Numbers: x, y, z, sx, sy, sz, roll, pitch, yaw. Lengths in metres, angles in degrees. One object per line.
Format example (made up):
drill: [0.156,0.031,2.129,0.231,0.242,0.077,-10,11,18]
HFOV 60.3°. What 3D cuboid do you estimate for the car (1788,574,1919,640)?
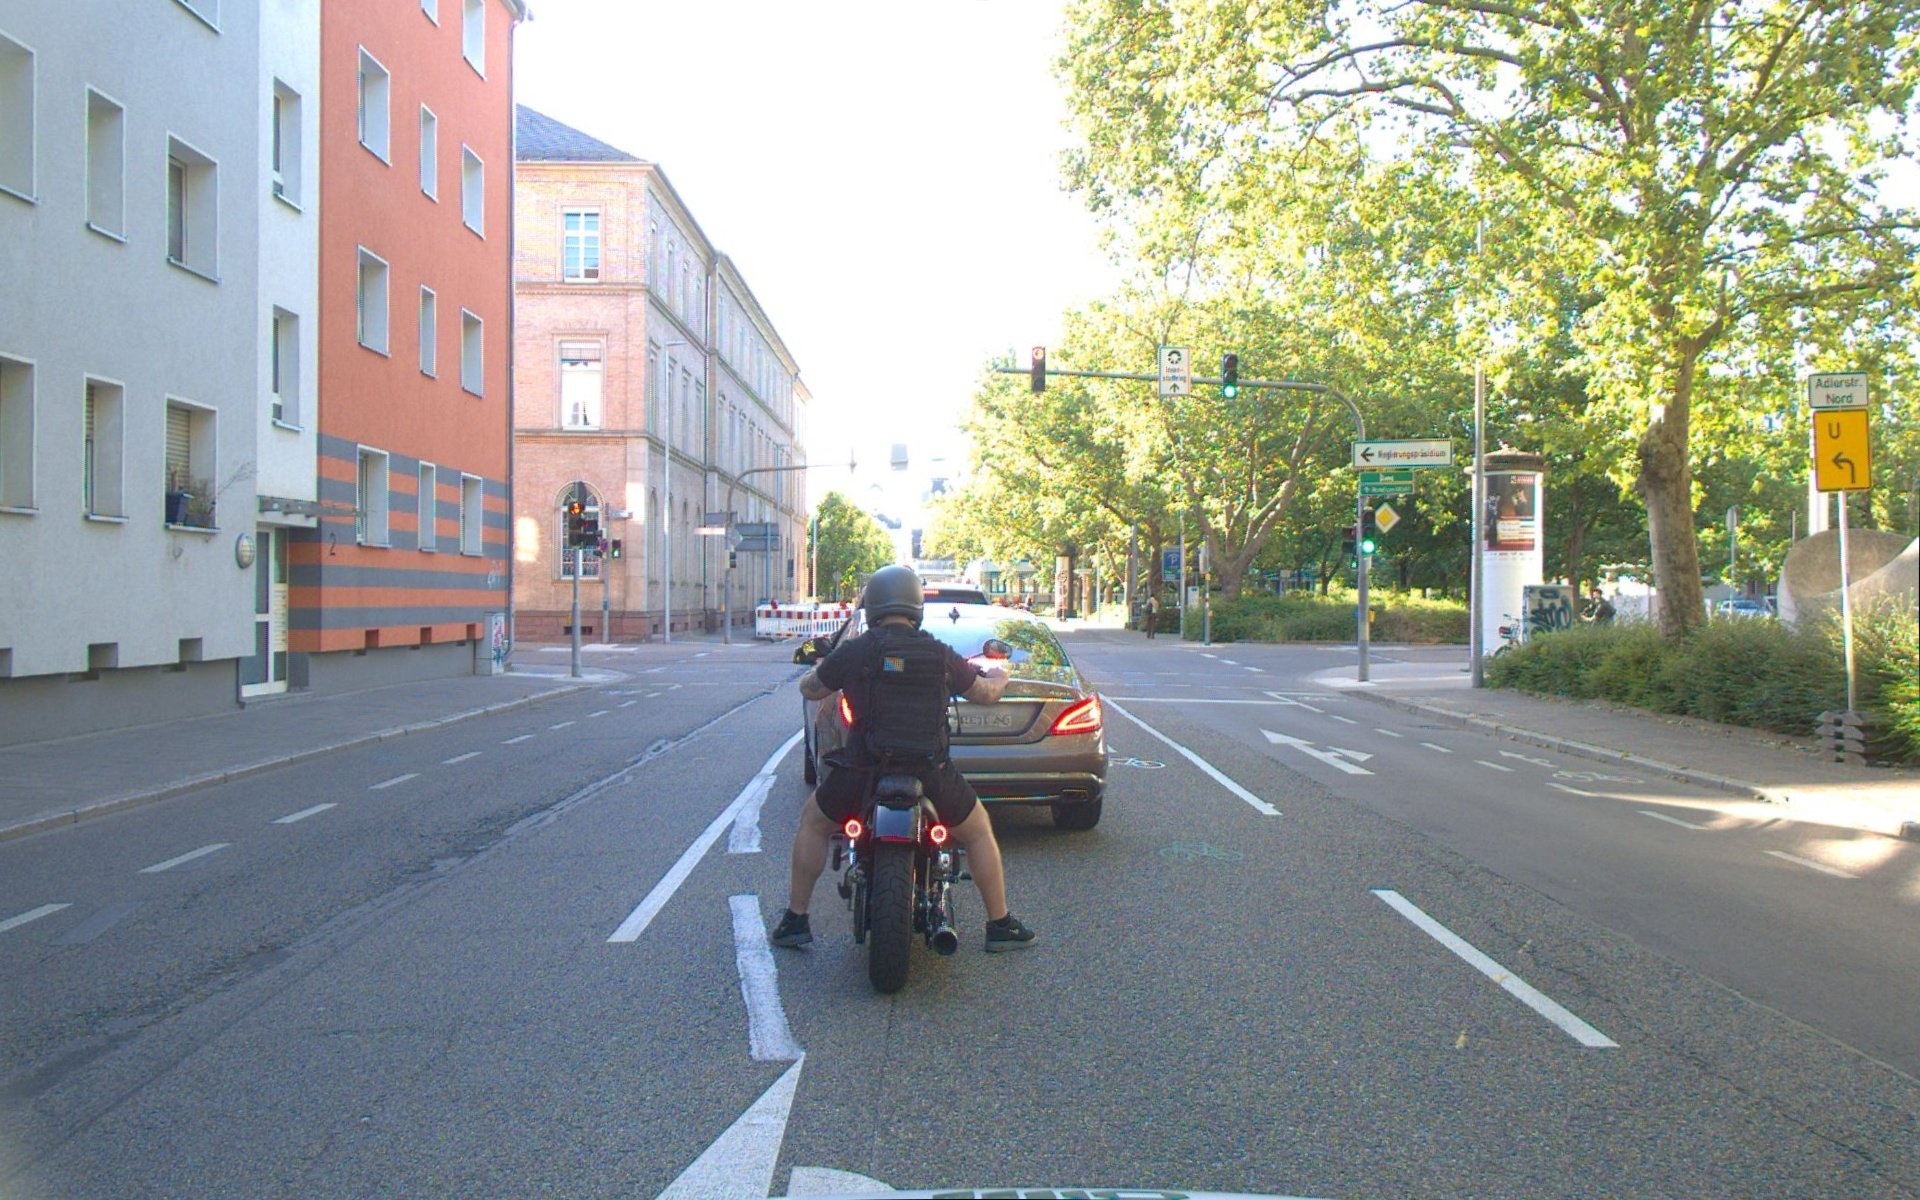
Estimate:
car: [25.747,0.191,46.519,3.912,1.815,2.001,0,0,4]

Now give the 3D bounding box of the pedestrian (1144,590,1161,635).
pedestrian: [7.379,0.462,63.446,0.548,1.707,0.564,0,0,-1]

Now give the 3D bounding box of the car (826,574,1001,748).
car: [-0.505,0.578,17.610,1.647,1.653,3.839,0,0,-2]

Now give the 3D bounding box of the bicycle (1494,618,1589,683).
bicycle: [9.694,0.834,27.592,1.387,1.055,0.538,0,0,-5]

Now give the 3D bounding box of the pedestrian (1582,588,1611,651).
pedestrian: [18.669,0.570,48.520,0.607,1.815,0.630,0,0,1]

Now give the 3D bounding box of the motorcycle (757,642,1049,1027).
motorcycle: [-0.211,0.830,6.953,0.987,1.225,2.664,0,0,-1]

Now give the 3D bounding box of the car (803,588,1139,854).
car: [-0.129,0.684,11.621,1.787,1.502,4.346,0,0,-7]

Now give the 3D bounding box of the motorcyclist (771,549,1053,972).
motorcyclist: [-0.194,0.623,7.030,1.090,1.641,1.202,0,0,-1]
